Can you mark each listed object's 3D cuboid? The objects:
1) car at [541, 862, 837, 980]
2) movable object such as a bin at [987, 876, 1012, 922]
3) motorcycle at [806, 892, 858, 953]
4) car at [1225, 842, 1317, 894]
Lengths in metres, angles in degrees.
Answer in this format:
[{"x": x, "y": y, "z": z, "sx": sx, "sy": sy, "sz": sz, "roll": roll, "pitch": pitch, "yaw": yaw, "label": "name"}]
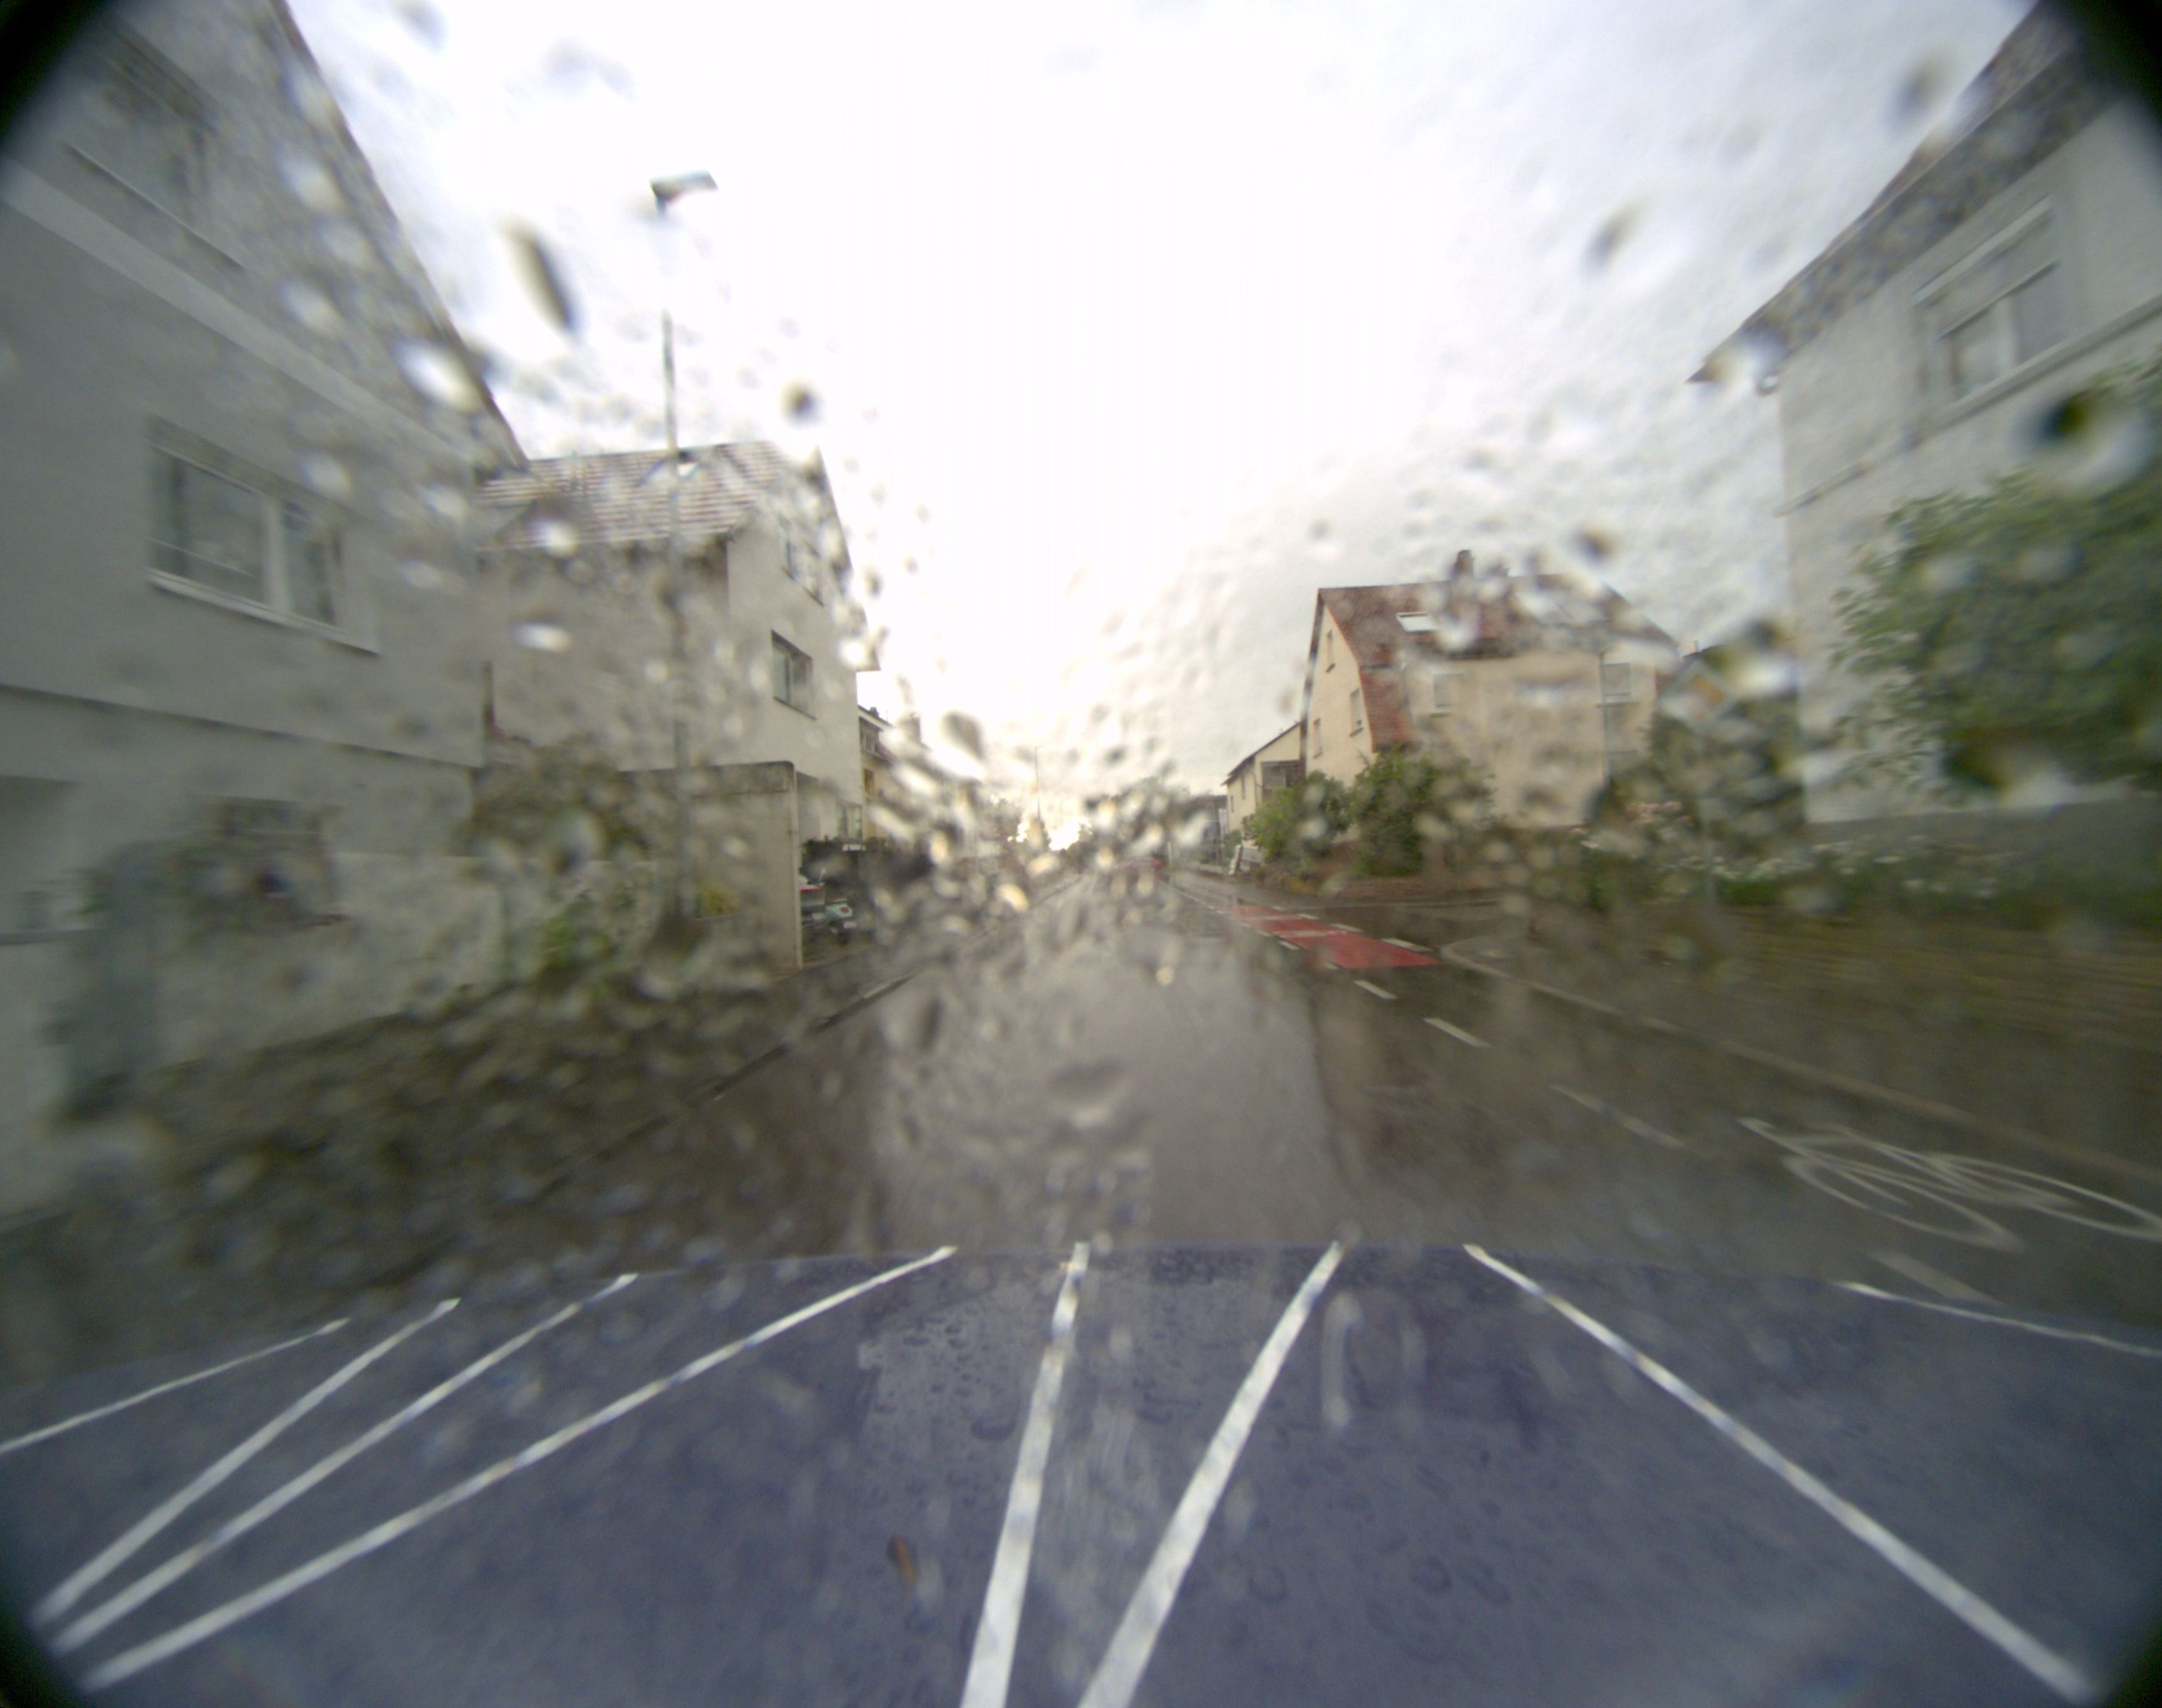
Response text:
[{"x": -5.901, "y": 0.969, "z": 11.781, "sx": 3.596, "sy": 1.574, "sz": 1.819, "roll": -1, "pitch": 1, "yaw": 0, "label": "car"}, {"x": -2.150, "y": 1.175, "z": 20.053, "sx": 0.569, "sy": 1.179, "sz": 0.538, "roll": -2, "pitch": 0, "yaw": 1, "label": "movable object such as a bin"}, {"x": -4.596, "y": 1.236, "z": 14.007, "sx": 0.557, "sy": 1.007, "sz": 1.147, "roll": -2, "pitch": 1, "yaw": -36, "label": "motorcycle"}, {"x": 9.652, "y": 0.721, "z": 38.833, "sx": 3.997, "sy": 1.964, "sz": 1.874, "roll": 9, "pitch": 0, "yaw": 0, "label": "car"}]
